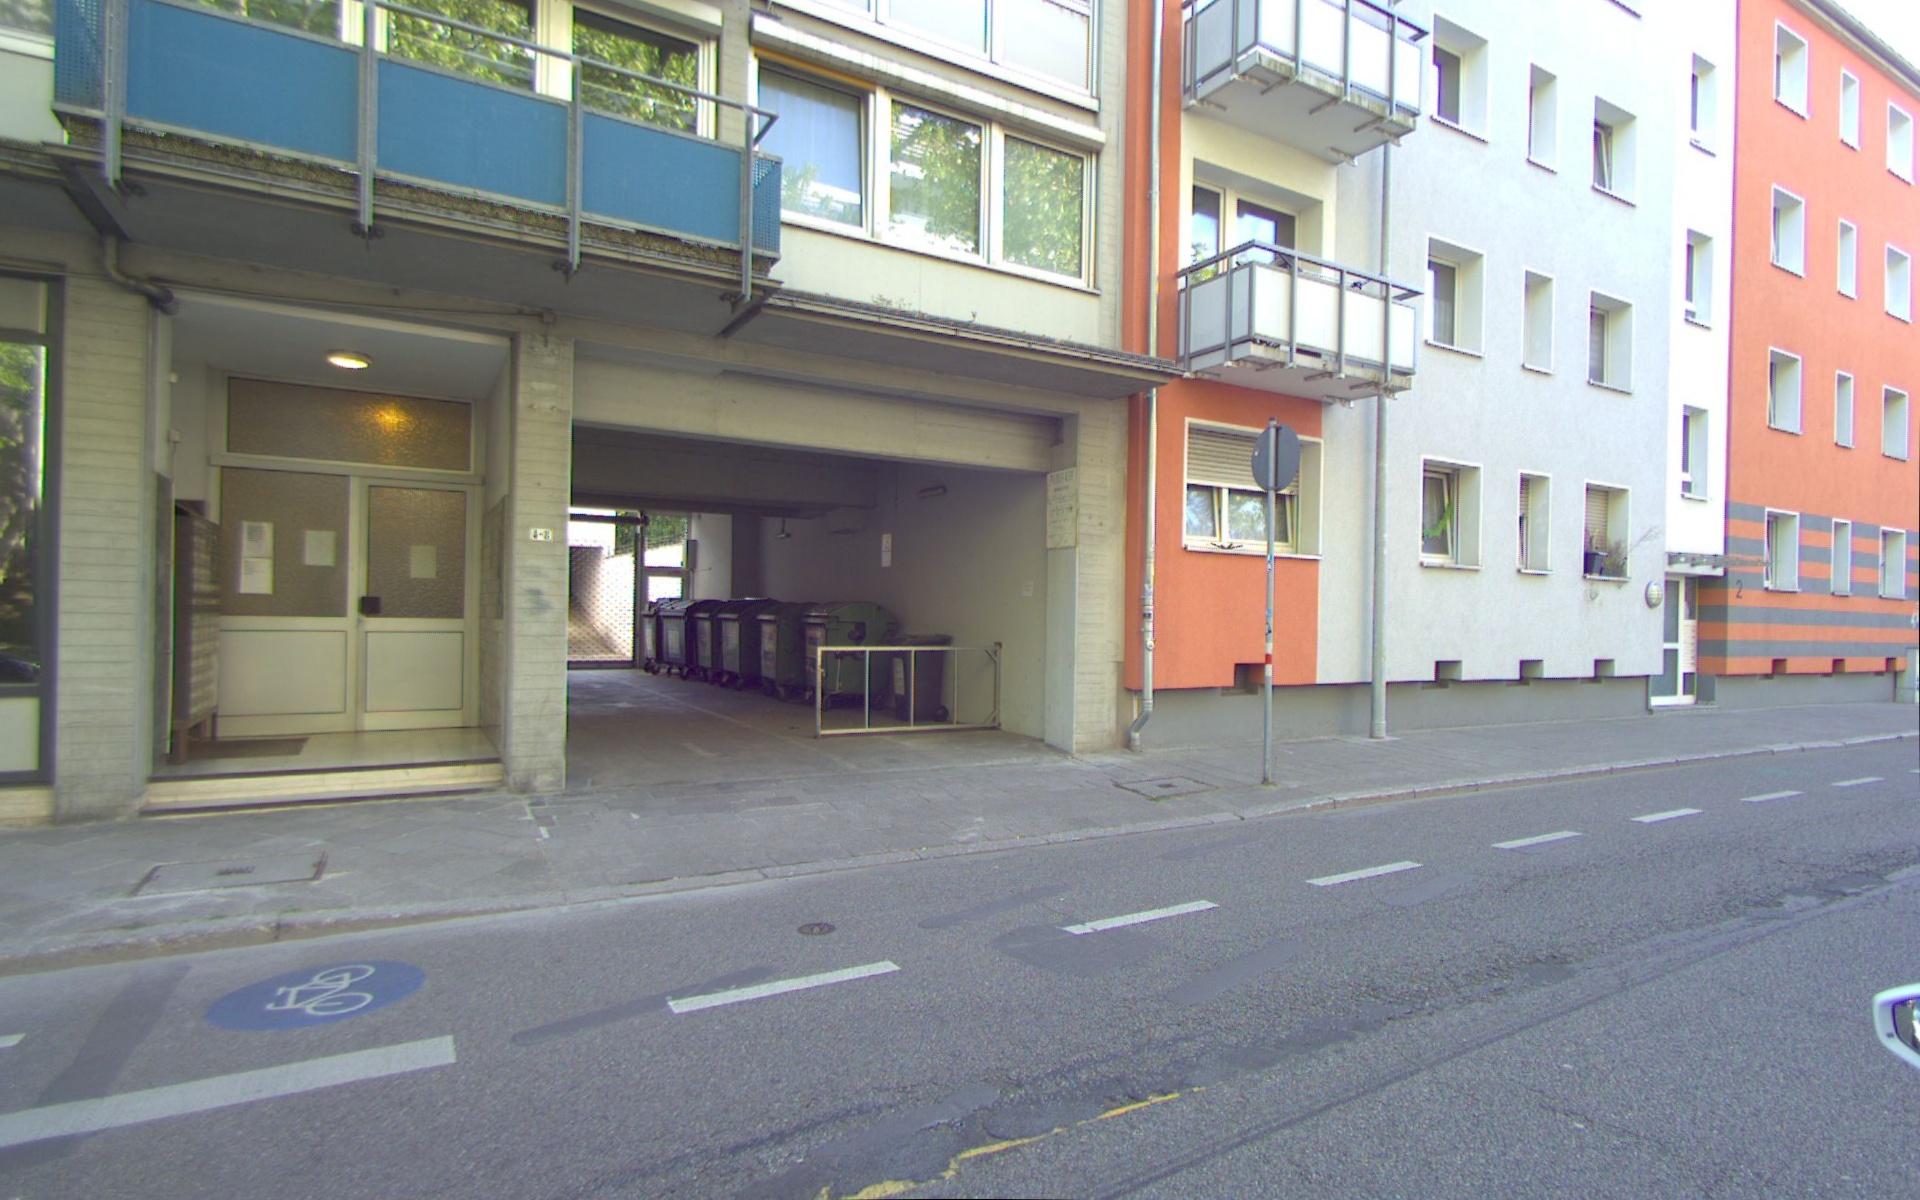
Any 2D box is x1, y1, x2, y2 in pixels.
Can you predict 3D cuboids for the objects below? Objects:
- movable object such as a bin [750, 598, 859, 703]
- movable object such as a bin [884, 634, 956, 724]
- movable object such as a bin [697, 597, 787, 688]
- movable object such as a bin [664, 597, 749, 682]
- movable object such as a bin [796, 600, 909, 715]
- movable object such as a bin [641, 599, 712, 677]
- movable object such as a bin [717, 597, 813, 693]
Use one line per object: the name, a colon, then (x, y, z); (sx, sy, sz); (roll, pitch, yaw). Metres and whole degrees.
movable object such as a bin: (-2.362, 0.741, 15.175); (1.264, 1.493, 1.265); (2, -1, -28)
movable object such as a bin: (-0.497, 0.965, 12.469); (0.694, 1.061, 0.567); (2, 0, -28)
movable object such as a bin: (-3.862, 0.734, 17.759); (1.264, 1.515, 1.155); (2, 0, -28)
movable object such as a bin: (-4.727, 0.727, 18.702); (1.264, 1.506, 1.155); (2, 0, -28)
movable object such as a bin: (-1.497, 0.761, 13.821); (1.128, 1.484, 1.255); (2, 0, -28)
movable object such as a bin: (-5.646, 0.738, 19.958); (1.128, 1.484, 1.129); (2, 0, -28)
movable object such as a bin: (-3.259, 0.733, 16.711); (1.264, 1.506, 1.155); (2, 0, -28)
